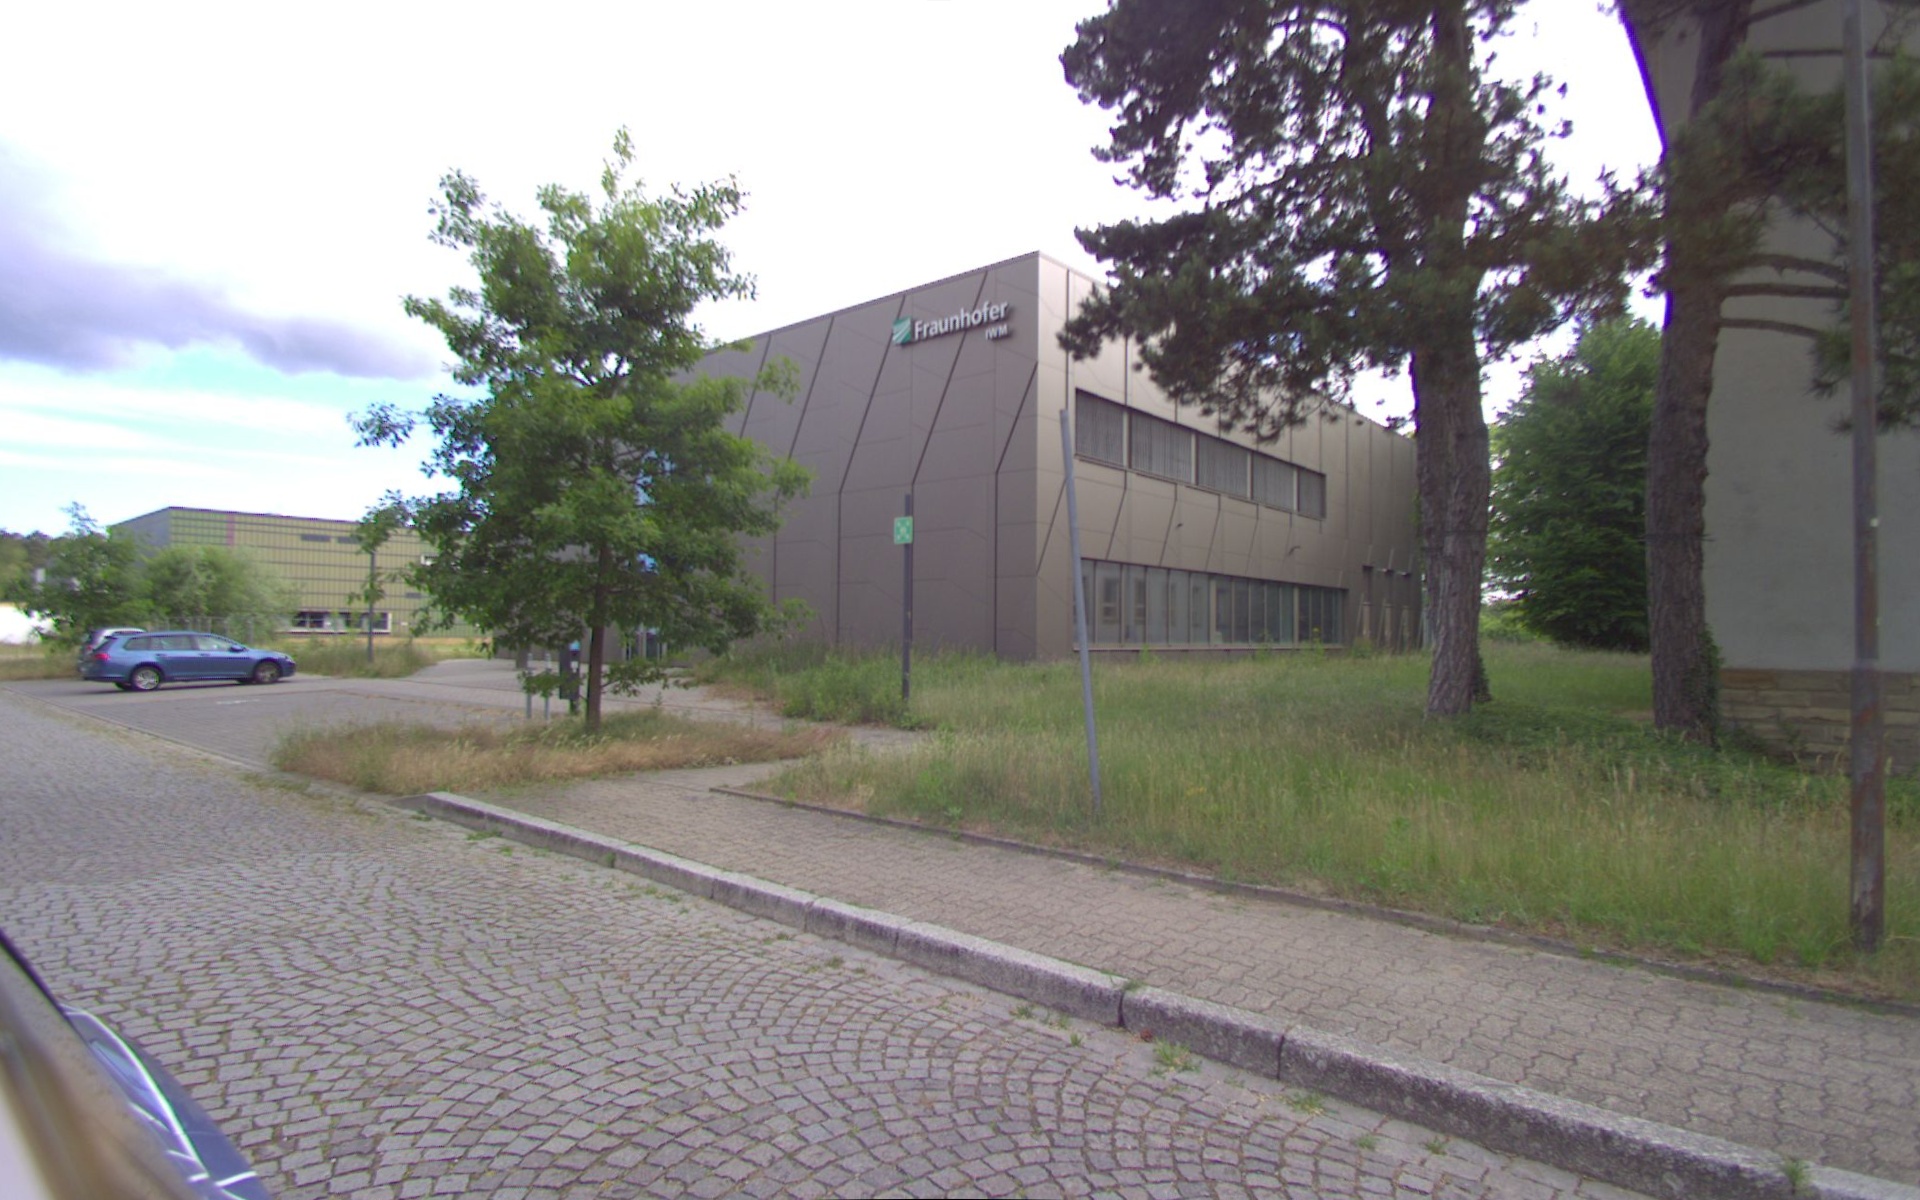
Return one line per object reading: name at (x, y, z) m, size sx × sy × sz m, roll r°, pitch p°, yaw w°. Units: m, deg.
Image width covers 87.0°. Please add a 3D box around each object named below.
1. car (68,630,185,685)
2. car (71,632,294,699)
car at (-25.722, 1.744, 31.270) m, size 1.499 × 1.541 × 2.552 m, roll -1°, pitch -1°, yaw 39°
car at (-20.174, 1.634, 26.427) m, size 1.631 × 1.481 × 4.372 m, roll -1°, pitch -1°, yaw 38°
